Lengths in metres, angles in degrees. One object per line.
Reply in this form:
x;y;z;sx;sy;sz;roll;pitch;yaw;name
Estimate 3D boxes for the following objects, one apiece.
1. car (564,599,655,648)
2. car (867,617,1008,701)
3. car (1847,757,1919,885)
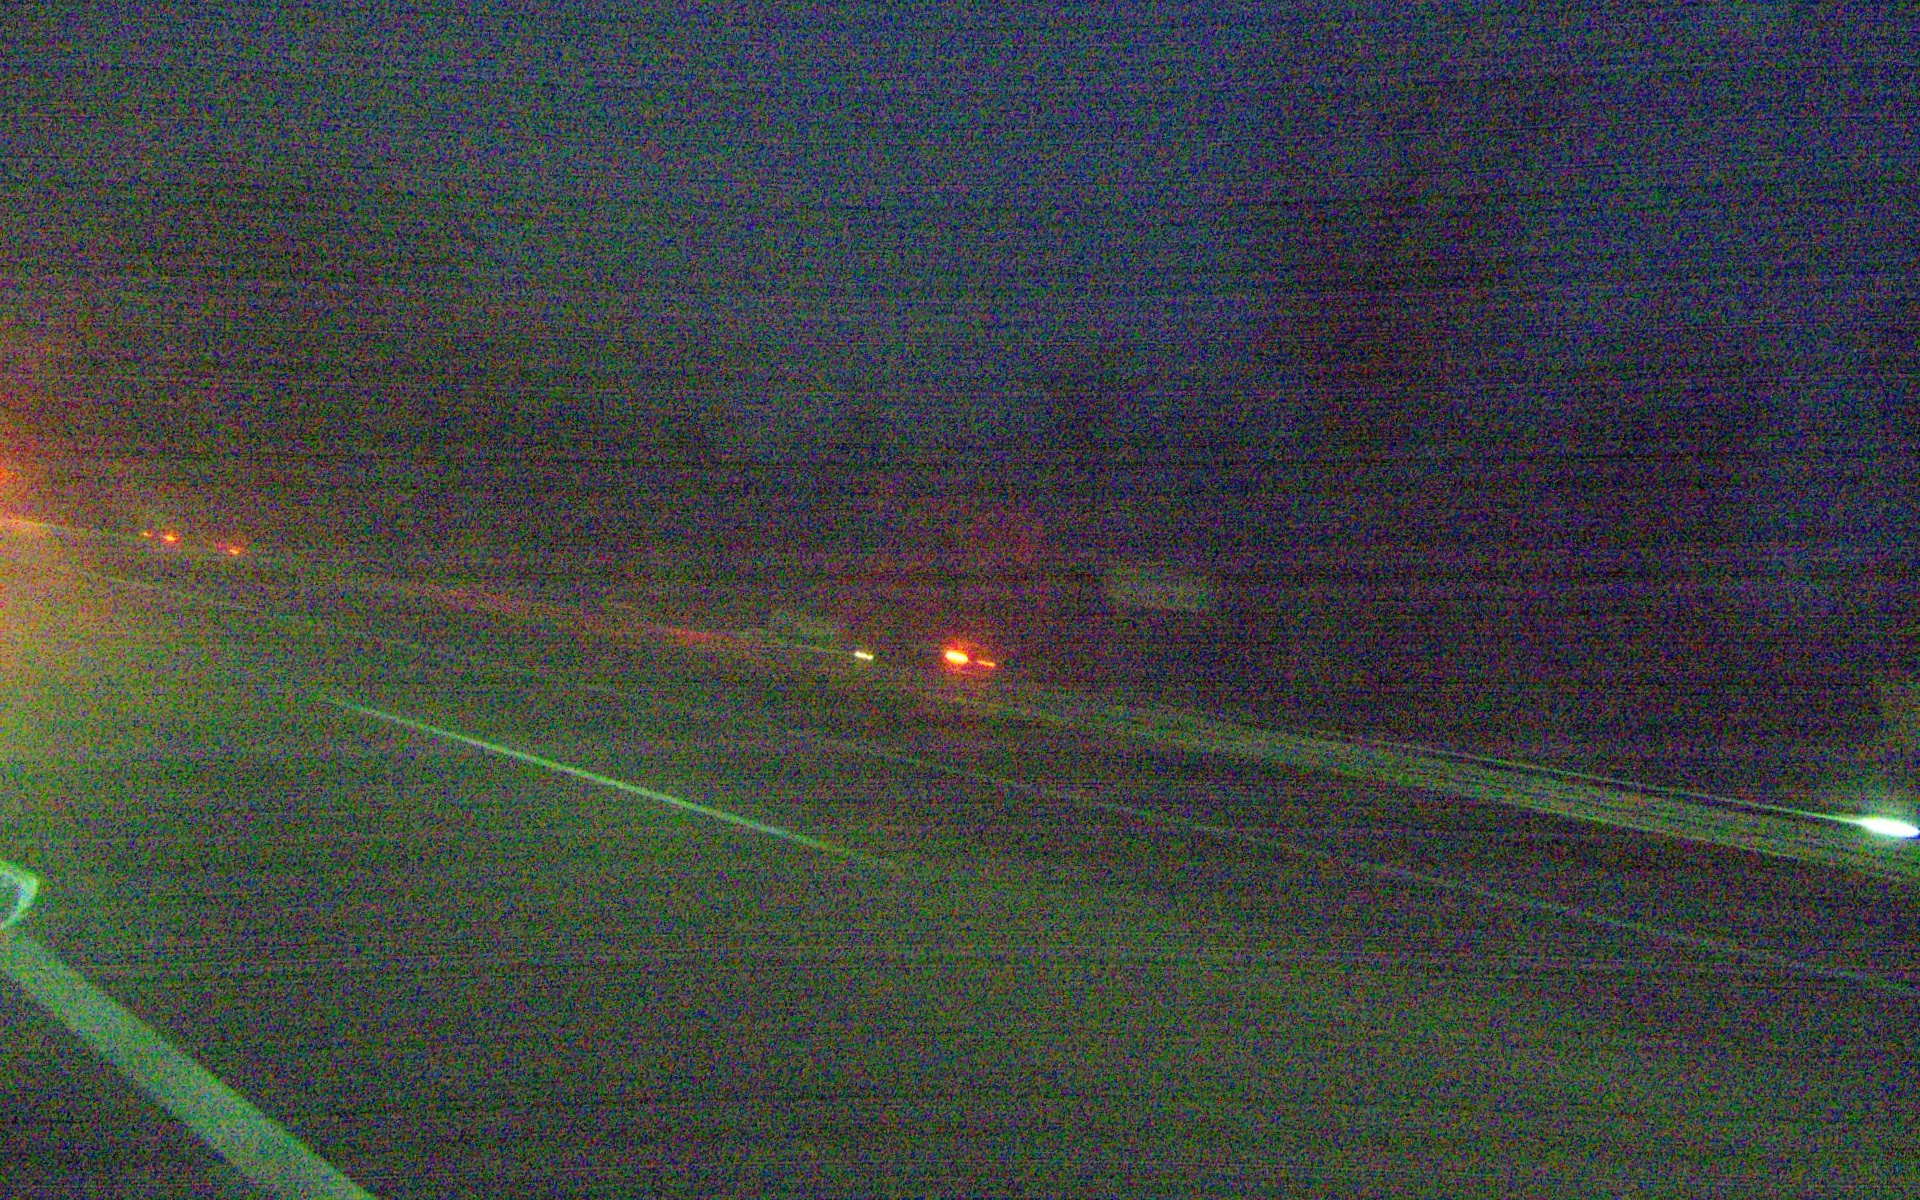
-16.312;1.082;46.794;3.941;1.616;1.997;6;-6;39;car
-0.764;1.897;32.780;3.948;2.035;2.231;6;-4;45;car
18.468;4.164;16.700;5.378;2.035;2.061;6;-4;45;car
